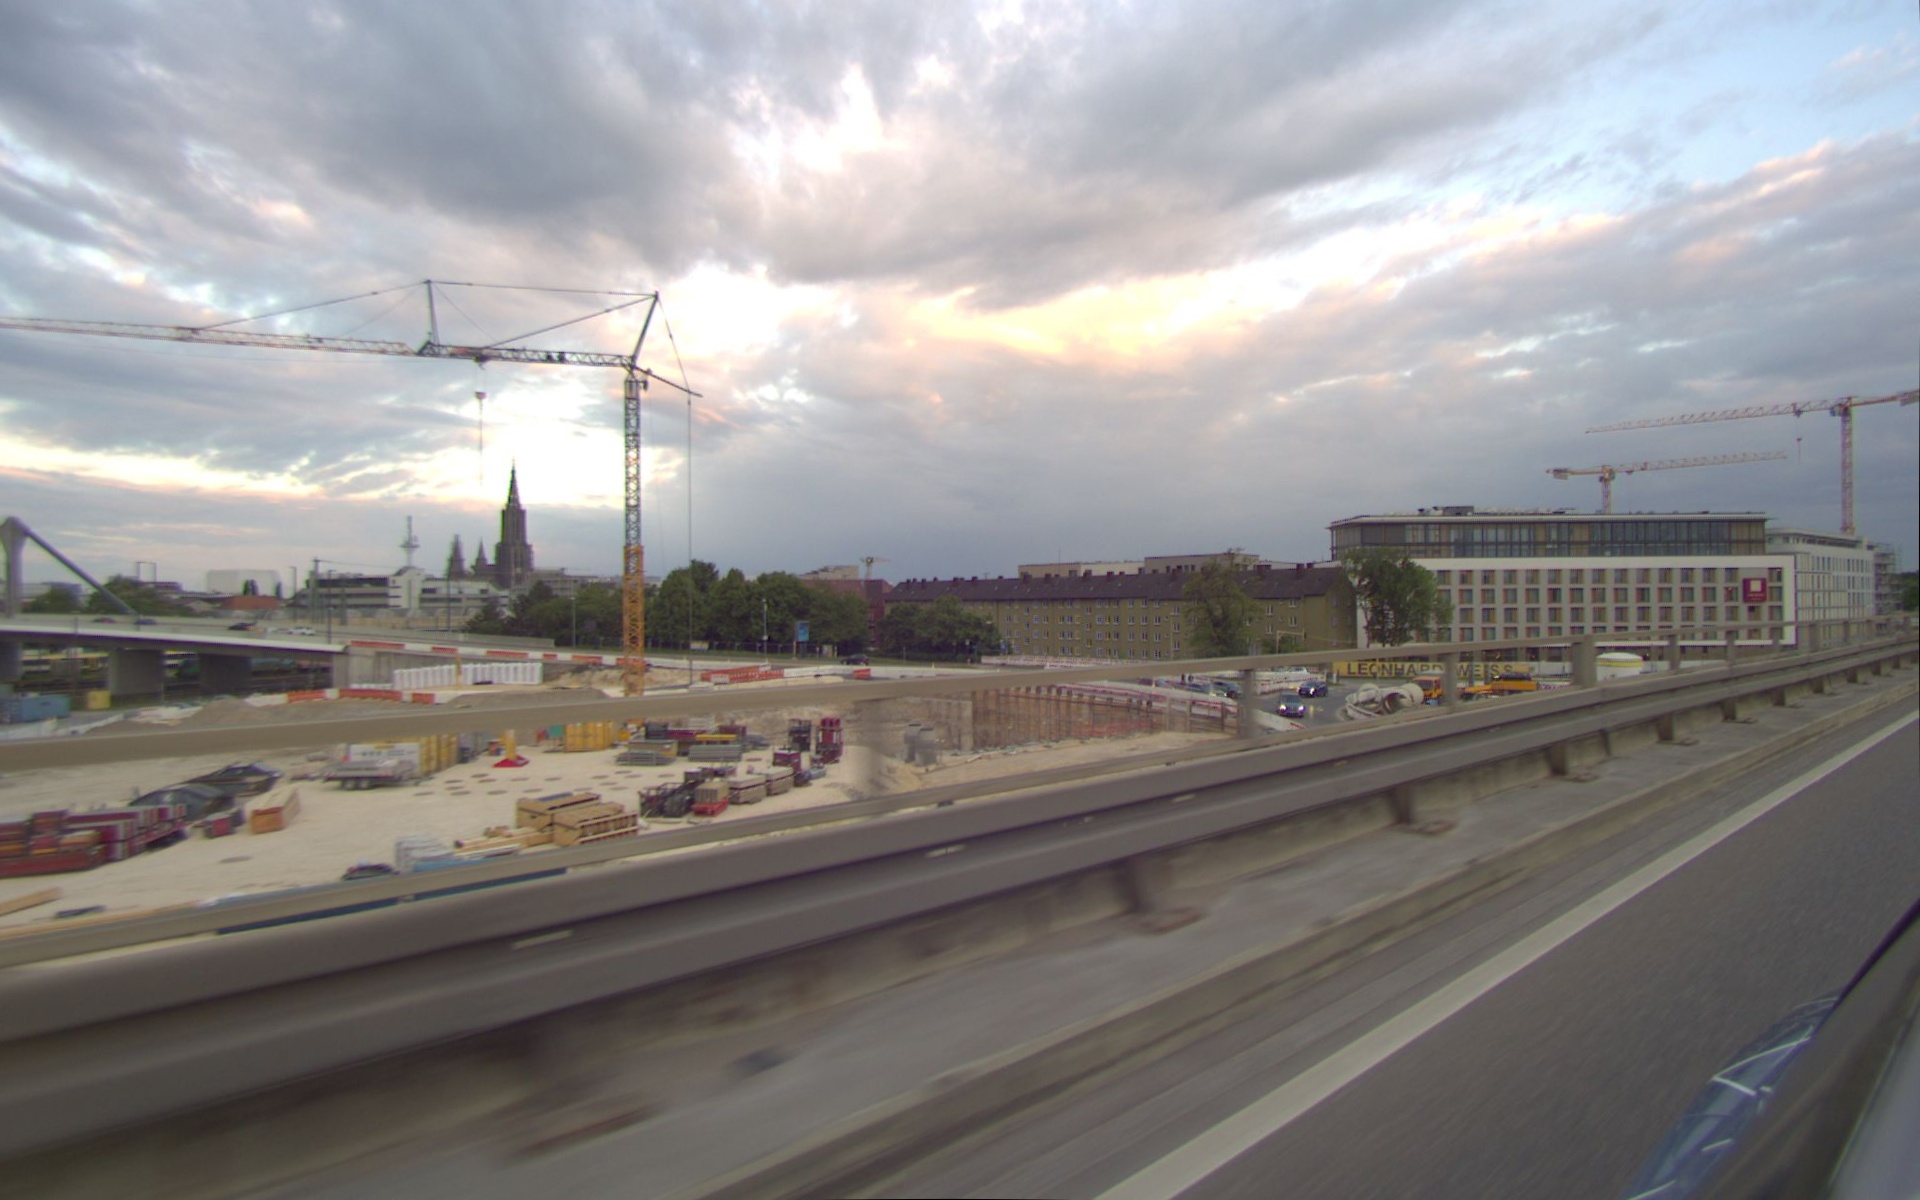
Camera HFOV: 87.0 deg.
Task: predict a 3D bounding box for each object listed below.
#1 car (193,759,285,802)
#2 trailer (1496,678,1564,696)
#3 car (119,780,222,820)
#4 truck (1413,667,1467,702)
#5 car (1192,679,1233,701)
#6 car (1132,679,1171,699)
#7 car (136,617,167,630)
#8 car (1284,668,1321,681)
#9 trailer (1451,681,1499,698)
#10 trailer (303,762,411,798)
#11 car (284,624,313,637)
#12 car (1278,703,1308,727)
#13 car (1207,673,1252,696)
[{"bbox_3d":[-40.845,10.198,57.391,3.917,1.948,1.687,-3,-5,-13],"label":"car"},{"bbox_3d":[57.126,8.716,101.428,5.829,1.365,2.004,0,0,33],"label":"trailer"},{"bbox_3d":[-39.164,9.914,50.290,3.718,1.461,1.530,-3,-5,-13],"label":"car"},{"bbox_3d":[45.452,7.938,95.662,7.216,2.987,2.158,1,-4,-45],"label":"truck"},{"bbox_3d":[23.342,8.332,93.732,1.611,1.761,3.800,-1,-1,-25],"label":"car"},{"bbox_3d":[19.001,8.780,100.571,1.617,1.639,3.769,0,0,-33],"label":"car"},{"bbox_3d":[-131.956,3.786,165.111,3.940,1.761,1.769,3,-4,13],"label":"car"},{"bbox_3d":[41.360,8.989,122.346,3.938,1.461,1.904,0,-5,12],"label":"car"},{"bbox_3d":[51.061,8.840,100.220,5.767,1.366,1.996,1,-6,-39],"label":"trailer"},{"bbox_3d":[-29.038,8.655,48.863,4.163,1.257,1.787,-1,-2,-14],"label":"trailer"},{"bbox_3d":[-102.823,4.803,157.408,3.650,1.762,1.588,3,-4,13],"label":"car"},{"bbox_3d":[27.934,9.605,85.094,1.970,1.903,5.065,-1,-5,14],"label":"car"},{"bbox_3d":[25.887,8.129,97.415,1.768,1.741,4.106,-3,1,-29],"label":"car"}]
